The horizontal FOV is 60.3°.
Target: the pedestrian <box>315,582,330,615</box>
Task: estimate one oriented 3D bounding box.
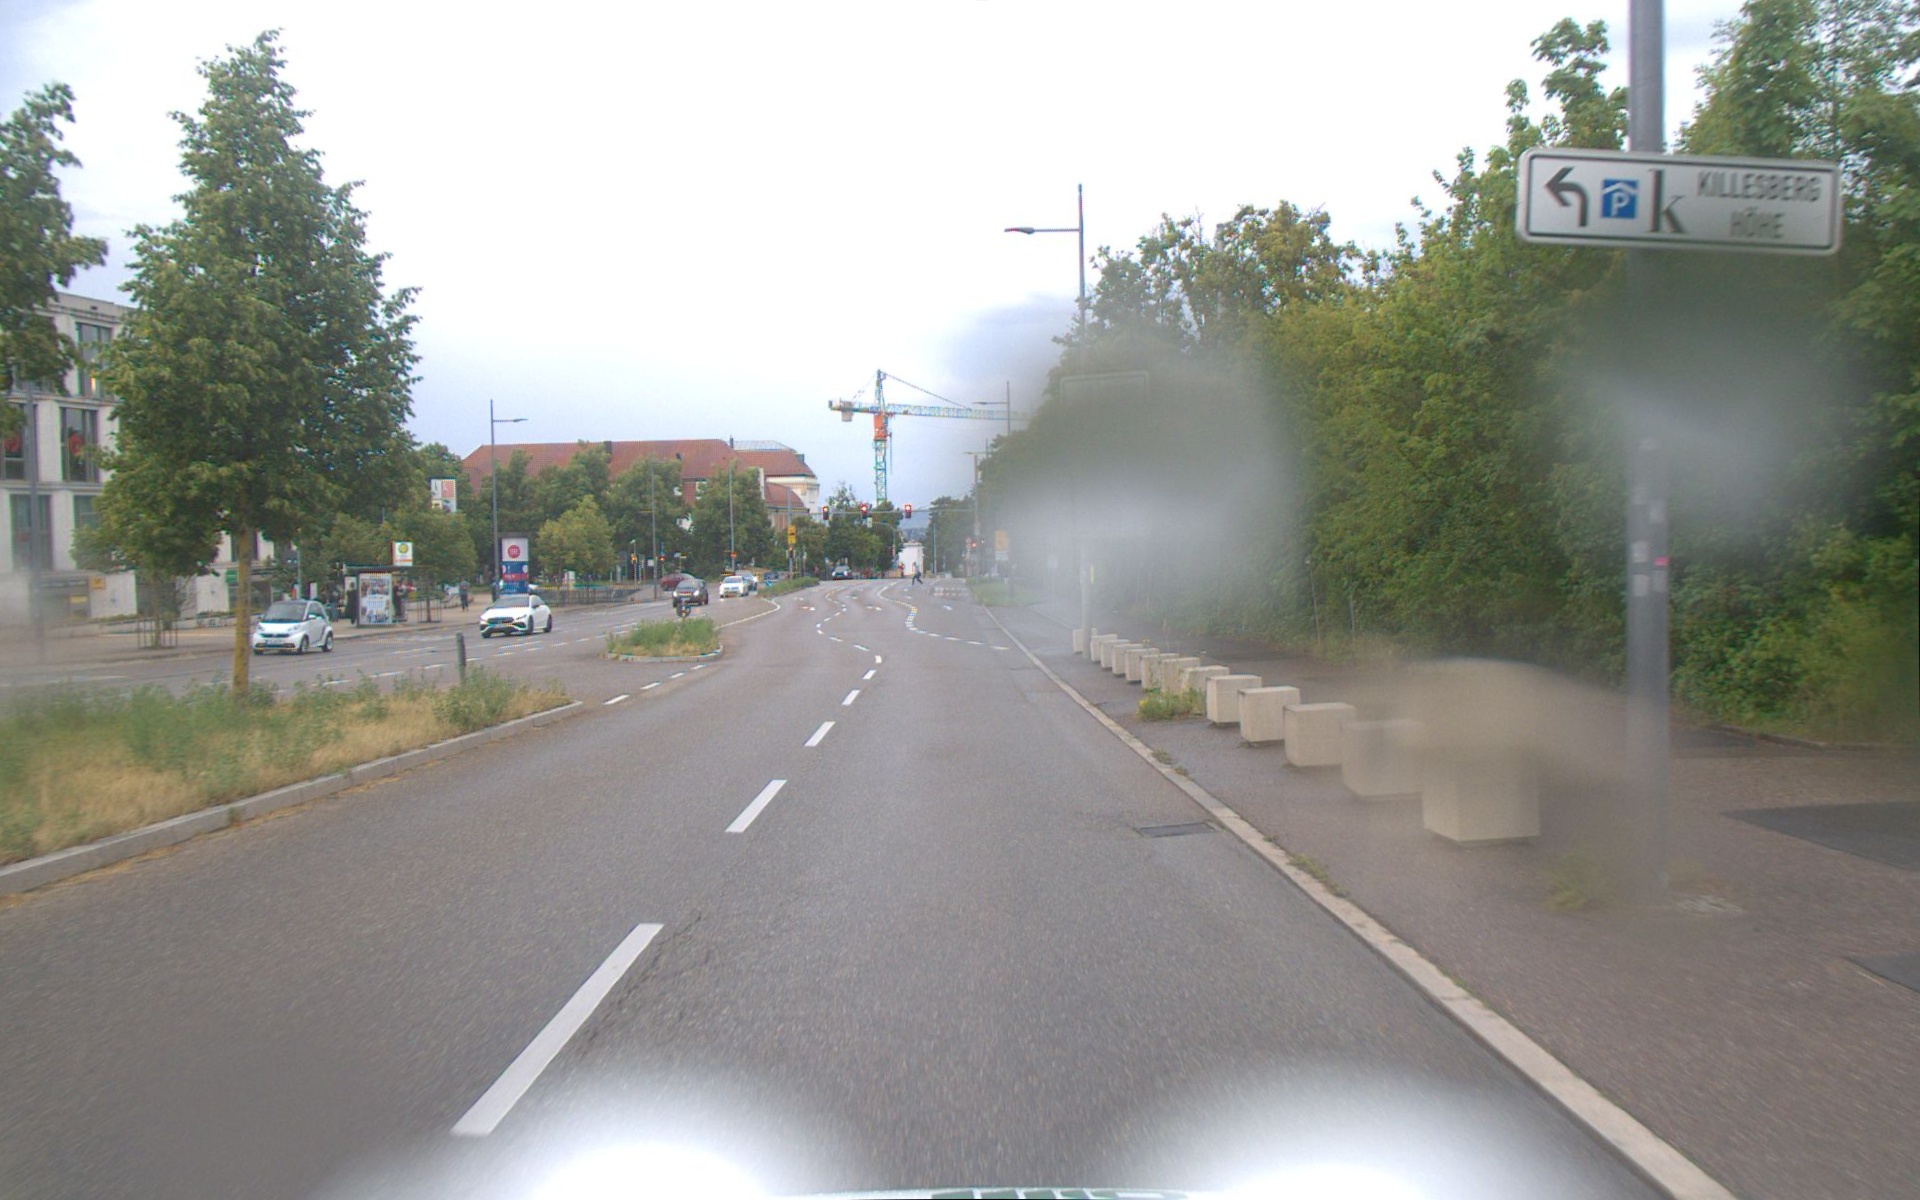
[{"bbox_3d":[-28.795,-0.080,74.722,0.417,1.476,0.510,-1,1,0],"label":"pedestrian"}]

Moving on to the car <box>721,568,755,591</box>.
[{"bbox_3d":[-15.847,-1.456,118.030,1.835,1.454,4.175,-4,1,-1],"label":"car"}]

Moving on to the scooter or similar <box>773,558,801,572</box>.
[{"bbox_3d":[-19.680,-3.955,188.456,3.026,1.465,0.948,-2,2,-3],"label":"scooter or similar"}]

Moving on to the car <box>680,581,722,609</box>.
[{"bbox_3d":[-15.132,-0.309,96.776,1.809,1.487,3.867,-3,1,-1],"label":"car"}]

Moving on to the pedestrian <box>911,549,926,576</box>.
[{"bbox_3d":[-3.256,-2.911,128.768,0.920,2.048,0.848,-4,1,5],"label":"pedestrian"}]

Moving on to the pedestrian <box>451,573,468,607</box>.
[{"bbox_3d":[-26.343,-0.525,87.058,0.586,1.792,0.857,-1,1,1],"label":"pedestrian"}]

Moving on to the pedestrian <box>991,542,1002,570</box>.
[{"bbox_3d":[2.585,-3.106,115.968,0.628,1.933,0.717,-2,2,-6],"label":"pedestrian"}]

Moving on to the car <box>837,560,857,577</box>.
[{"bbox_3d":[-12.674,-3.513,184.943,1.953,1.870,4.000,0,0,0],"label":"car"}]

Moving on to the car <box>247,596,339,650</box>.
[{"bbox_3d":[-19.954,0.675,49.565,1.581,1.534,2.972,0,1,-1],"label":"car"}]

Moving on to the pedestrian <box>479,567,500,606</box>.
[{"bbox_3d":[-23.046,-0.665,81.032,0.737,1.874,0.747,-1,1,1],"label":"pedestrian"}]

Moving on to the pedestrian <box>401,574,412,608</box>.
[{"bbox_3d":[-27.939,-0.469,83.482,0.489,1.719,0.911,-2,1,-17],"label":"pedestrian"}]

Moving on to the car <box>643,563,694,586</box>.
[{"bbox_3d":[-25.611,-2.255,145.260,3.905,1.950,2.000,-1,1,22],"label":"car"}]

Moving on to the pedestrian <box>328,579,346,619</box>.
[{"bbox_3d":[-27.920,-0.033,74.090,0.514,1.755,0.566,-1,1,1],"label":"pedestrian"}]

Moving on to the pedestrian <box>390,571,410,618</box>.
[{"bbox_3d":[-23.028,-0.226,68.003,0.497,1.874,0.755,-1,1,-2],"label":"pedestrian"}]

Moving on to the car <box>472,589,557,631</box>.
[{"bbox_3d":[-16.464,0.344,61.380,1.953,1.443,4.512,-1,1,-1],"label":"car"}]
